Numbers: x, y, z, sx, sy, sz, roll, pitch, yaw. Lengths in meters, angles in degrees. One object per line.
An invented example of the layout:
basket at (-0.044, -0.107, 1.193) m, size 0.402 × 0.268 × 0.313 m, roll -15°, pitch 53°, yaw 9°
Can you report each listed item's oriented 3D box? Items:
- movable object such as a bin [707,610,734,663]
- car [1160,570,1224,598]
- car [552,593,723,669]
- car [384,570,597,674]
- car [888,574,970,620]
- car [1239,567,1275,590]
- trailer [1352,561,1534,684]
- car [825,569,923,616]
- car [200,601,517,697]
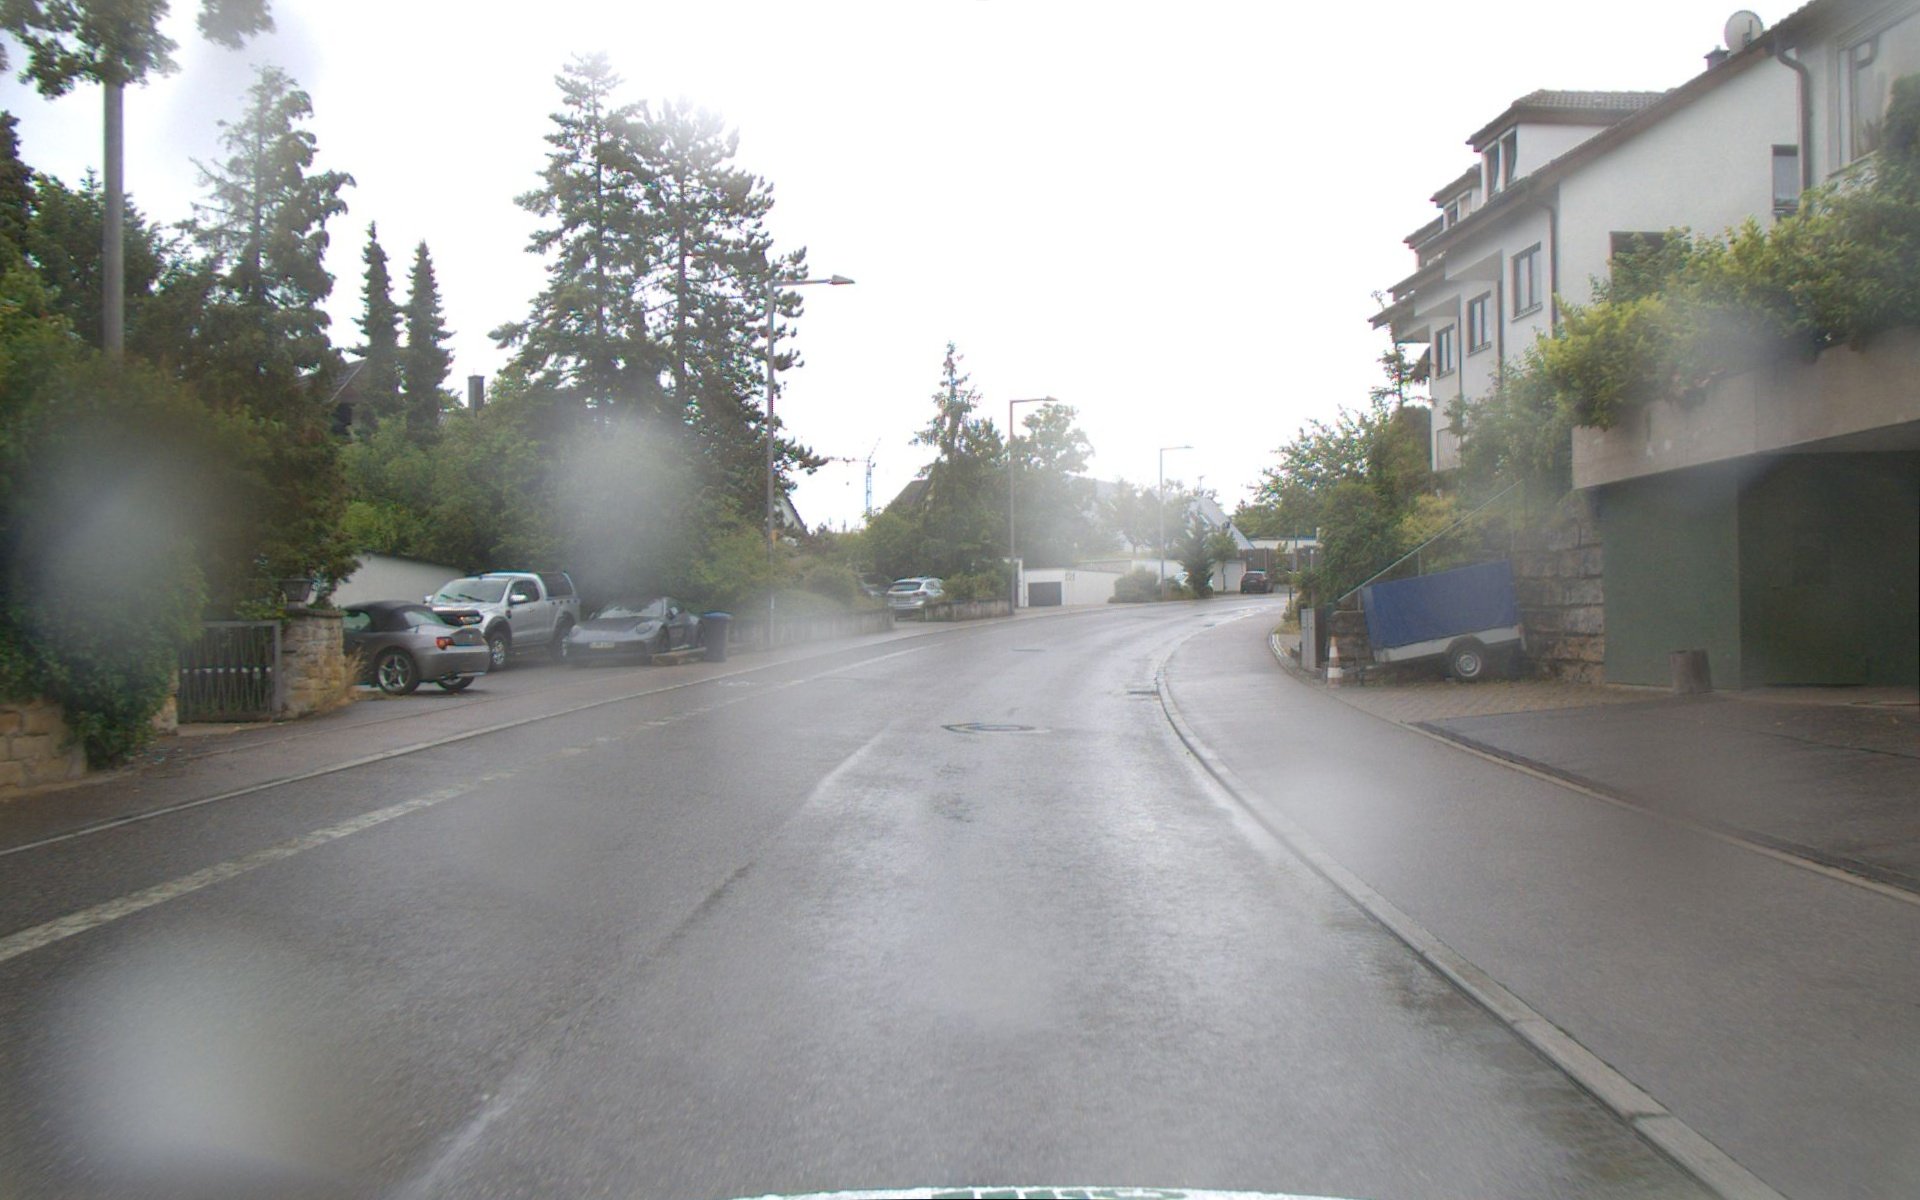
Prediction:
movable object such as a bin at (-4.659, 0.711, 32.212) m, size 0.362 × 1.005 × 0.559 m, roll -1°, pitch 0°, yaw 6°
car at (13.793, -0.984, 98.309) m, size 1.680 × 1.580 × 4.364 m, roll 0°, pitch 1°, yaw 41°
car at (-6.290, 0.560, 32.812) m, size 1.951 × 1.330 × 4.437 m, roll -1°, pitch 0°, yaw 8°
car at (-9.121, 0.371, 32.713) m, size 1.951 × 1.876 × 5.483 m, roll -1°, pitch 1°, yaw 8°
car at (-1.108, -0.128, 61.289) m, size 1.699 × 1.578 × 4.001 m, roll -1°, pitch 1°, yaw 20°
car at (19.945, -1.448, 111.065) m, size 1.795 × 1.430 × 4.262 m, roll -1°, pitch 1°, yaw 18°
trailer at (7.301, 0.327, 25.216) m, size 2.304 × 1.778 × 2.001 m, roll -1°, pitch 0°, yaw 5°
car at (-3.551, -0.294, 67.847) m, size 1.983 × 1.870 × 3.940 m, roll -2°, pitch 1°, yaw -41°
car at (-8.657, 0.685, 23.929) m, size 3.902 × 1.294 × 1.875 m, roll -1°, pitch 0°, yaw 12°
